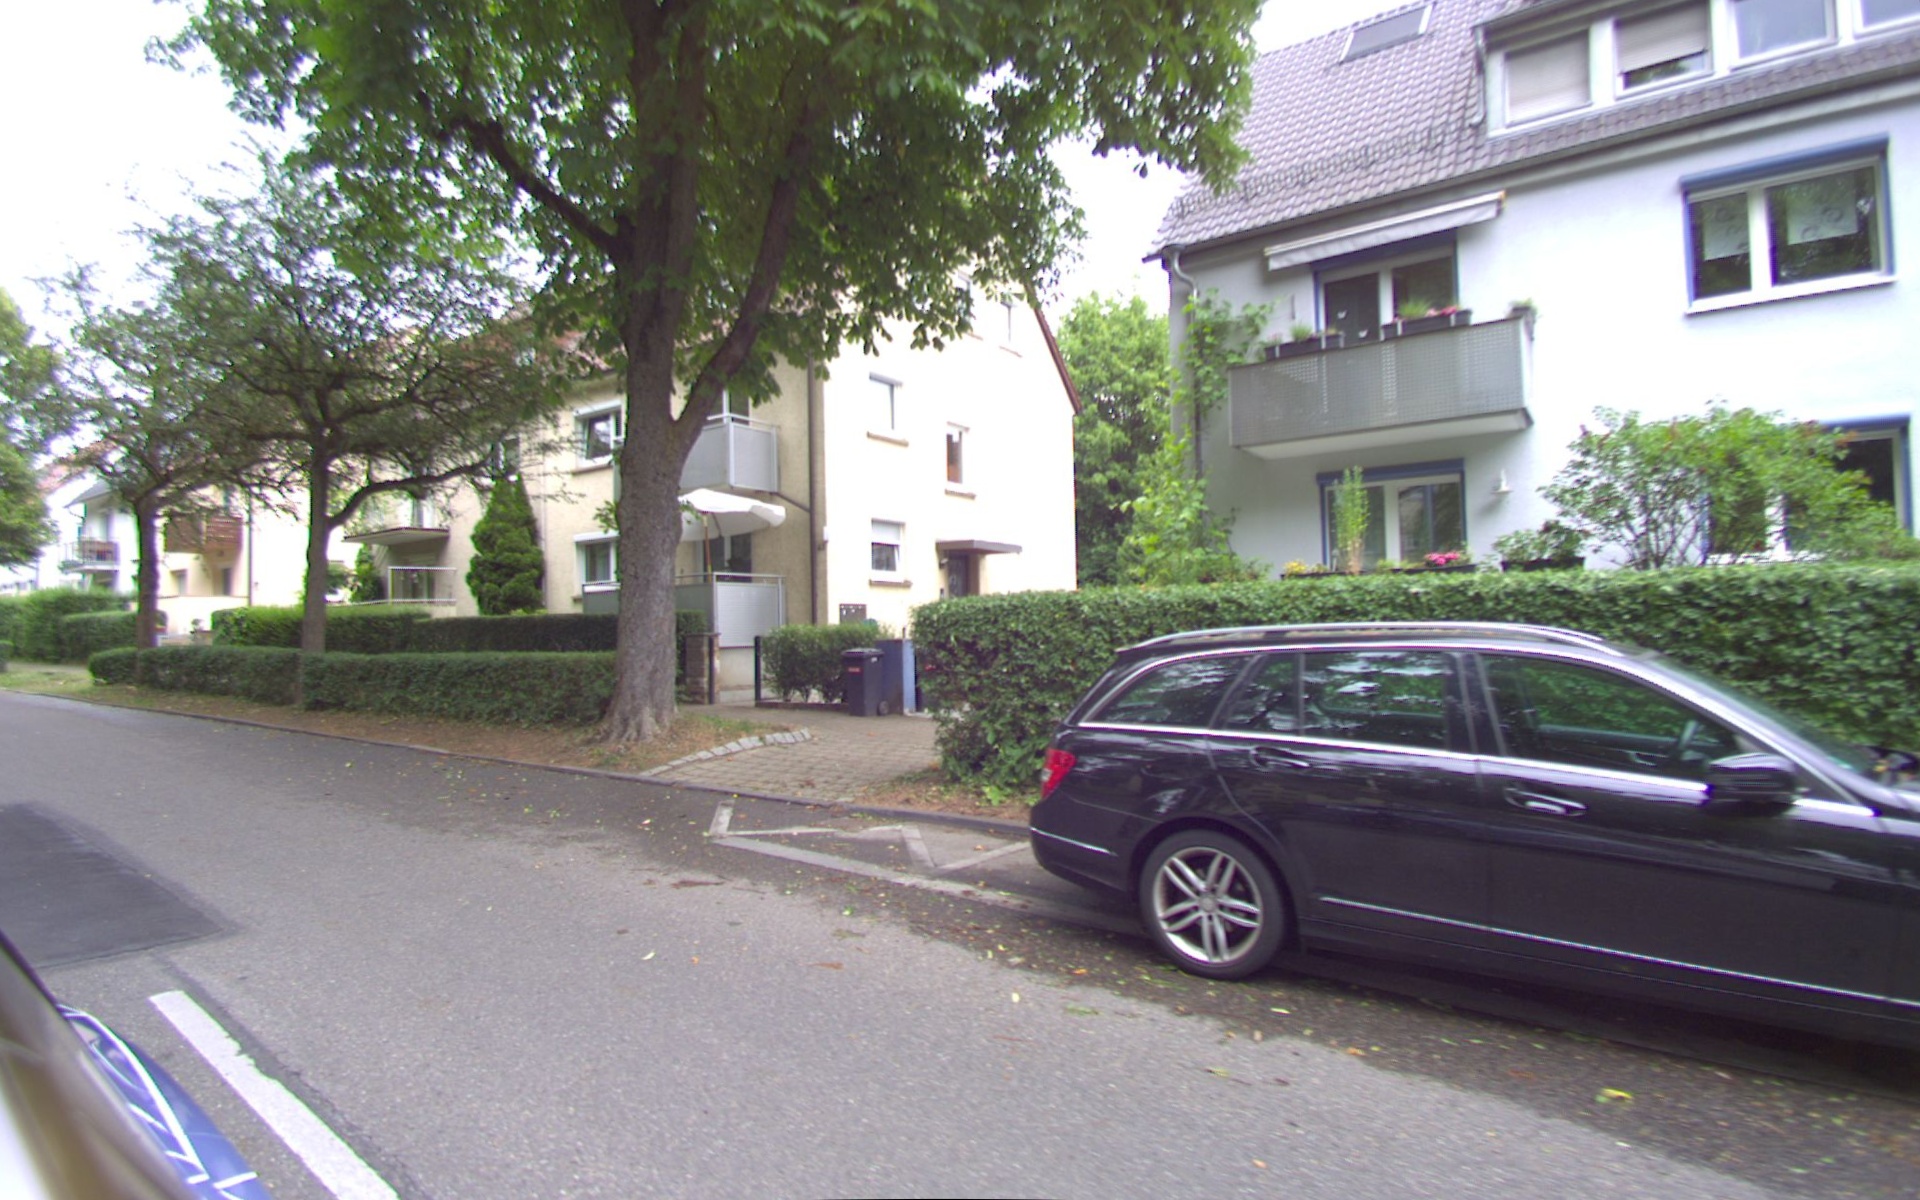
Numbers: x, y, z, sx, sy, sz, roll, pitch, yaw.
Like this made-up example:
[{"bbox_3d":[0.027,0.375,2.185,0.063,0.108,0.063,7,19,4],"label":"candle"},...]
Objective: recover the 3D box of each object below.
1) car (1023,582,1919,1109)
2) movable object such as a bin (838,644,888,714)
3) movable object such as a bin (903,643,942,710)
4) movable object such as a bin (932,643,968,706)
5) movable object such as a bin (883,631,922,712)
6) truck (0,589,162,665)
[{"bbox_3d":[2.589,0.734,4.041,4.407,1.483,1.779,-1,-3,35],"label":"car"},{"bbox_3d":[-1.322,1.067,13.838,0.506,0.922,0.452,-1,-3,31],"label":"movable object such as a bin"},{"bbox_3d":[-0.533,1.075,14.370,0.404,0.920,0.377,-1,-3,31],"label":"movable object such as a bin"},{"bbox_3d":[-0.146,1.093,14.964,0.404,0.920,0.377,-1,-3,31],"label":"movable object such as a bin"},{"bbox_3d":[-0.799,0.987,14.067,0.404,1.097,0.377,-1,-3,31],"label":"movable object such as a bin"},{"bbox_3d":[-39.491,1.200,45.041,2.511,3.155,5.749,-2,-2,33],"label":"truck"}]
